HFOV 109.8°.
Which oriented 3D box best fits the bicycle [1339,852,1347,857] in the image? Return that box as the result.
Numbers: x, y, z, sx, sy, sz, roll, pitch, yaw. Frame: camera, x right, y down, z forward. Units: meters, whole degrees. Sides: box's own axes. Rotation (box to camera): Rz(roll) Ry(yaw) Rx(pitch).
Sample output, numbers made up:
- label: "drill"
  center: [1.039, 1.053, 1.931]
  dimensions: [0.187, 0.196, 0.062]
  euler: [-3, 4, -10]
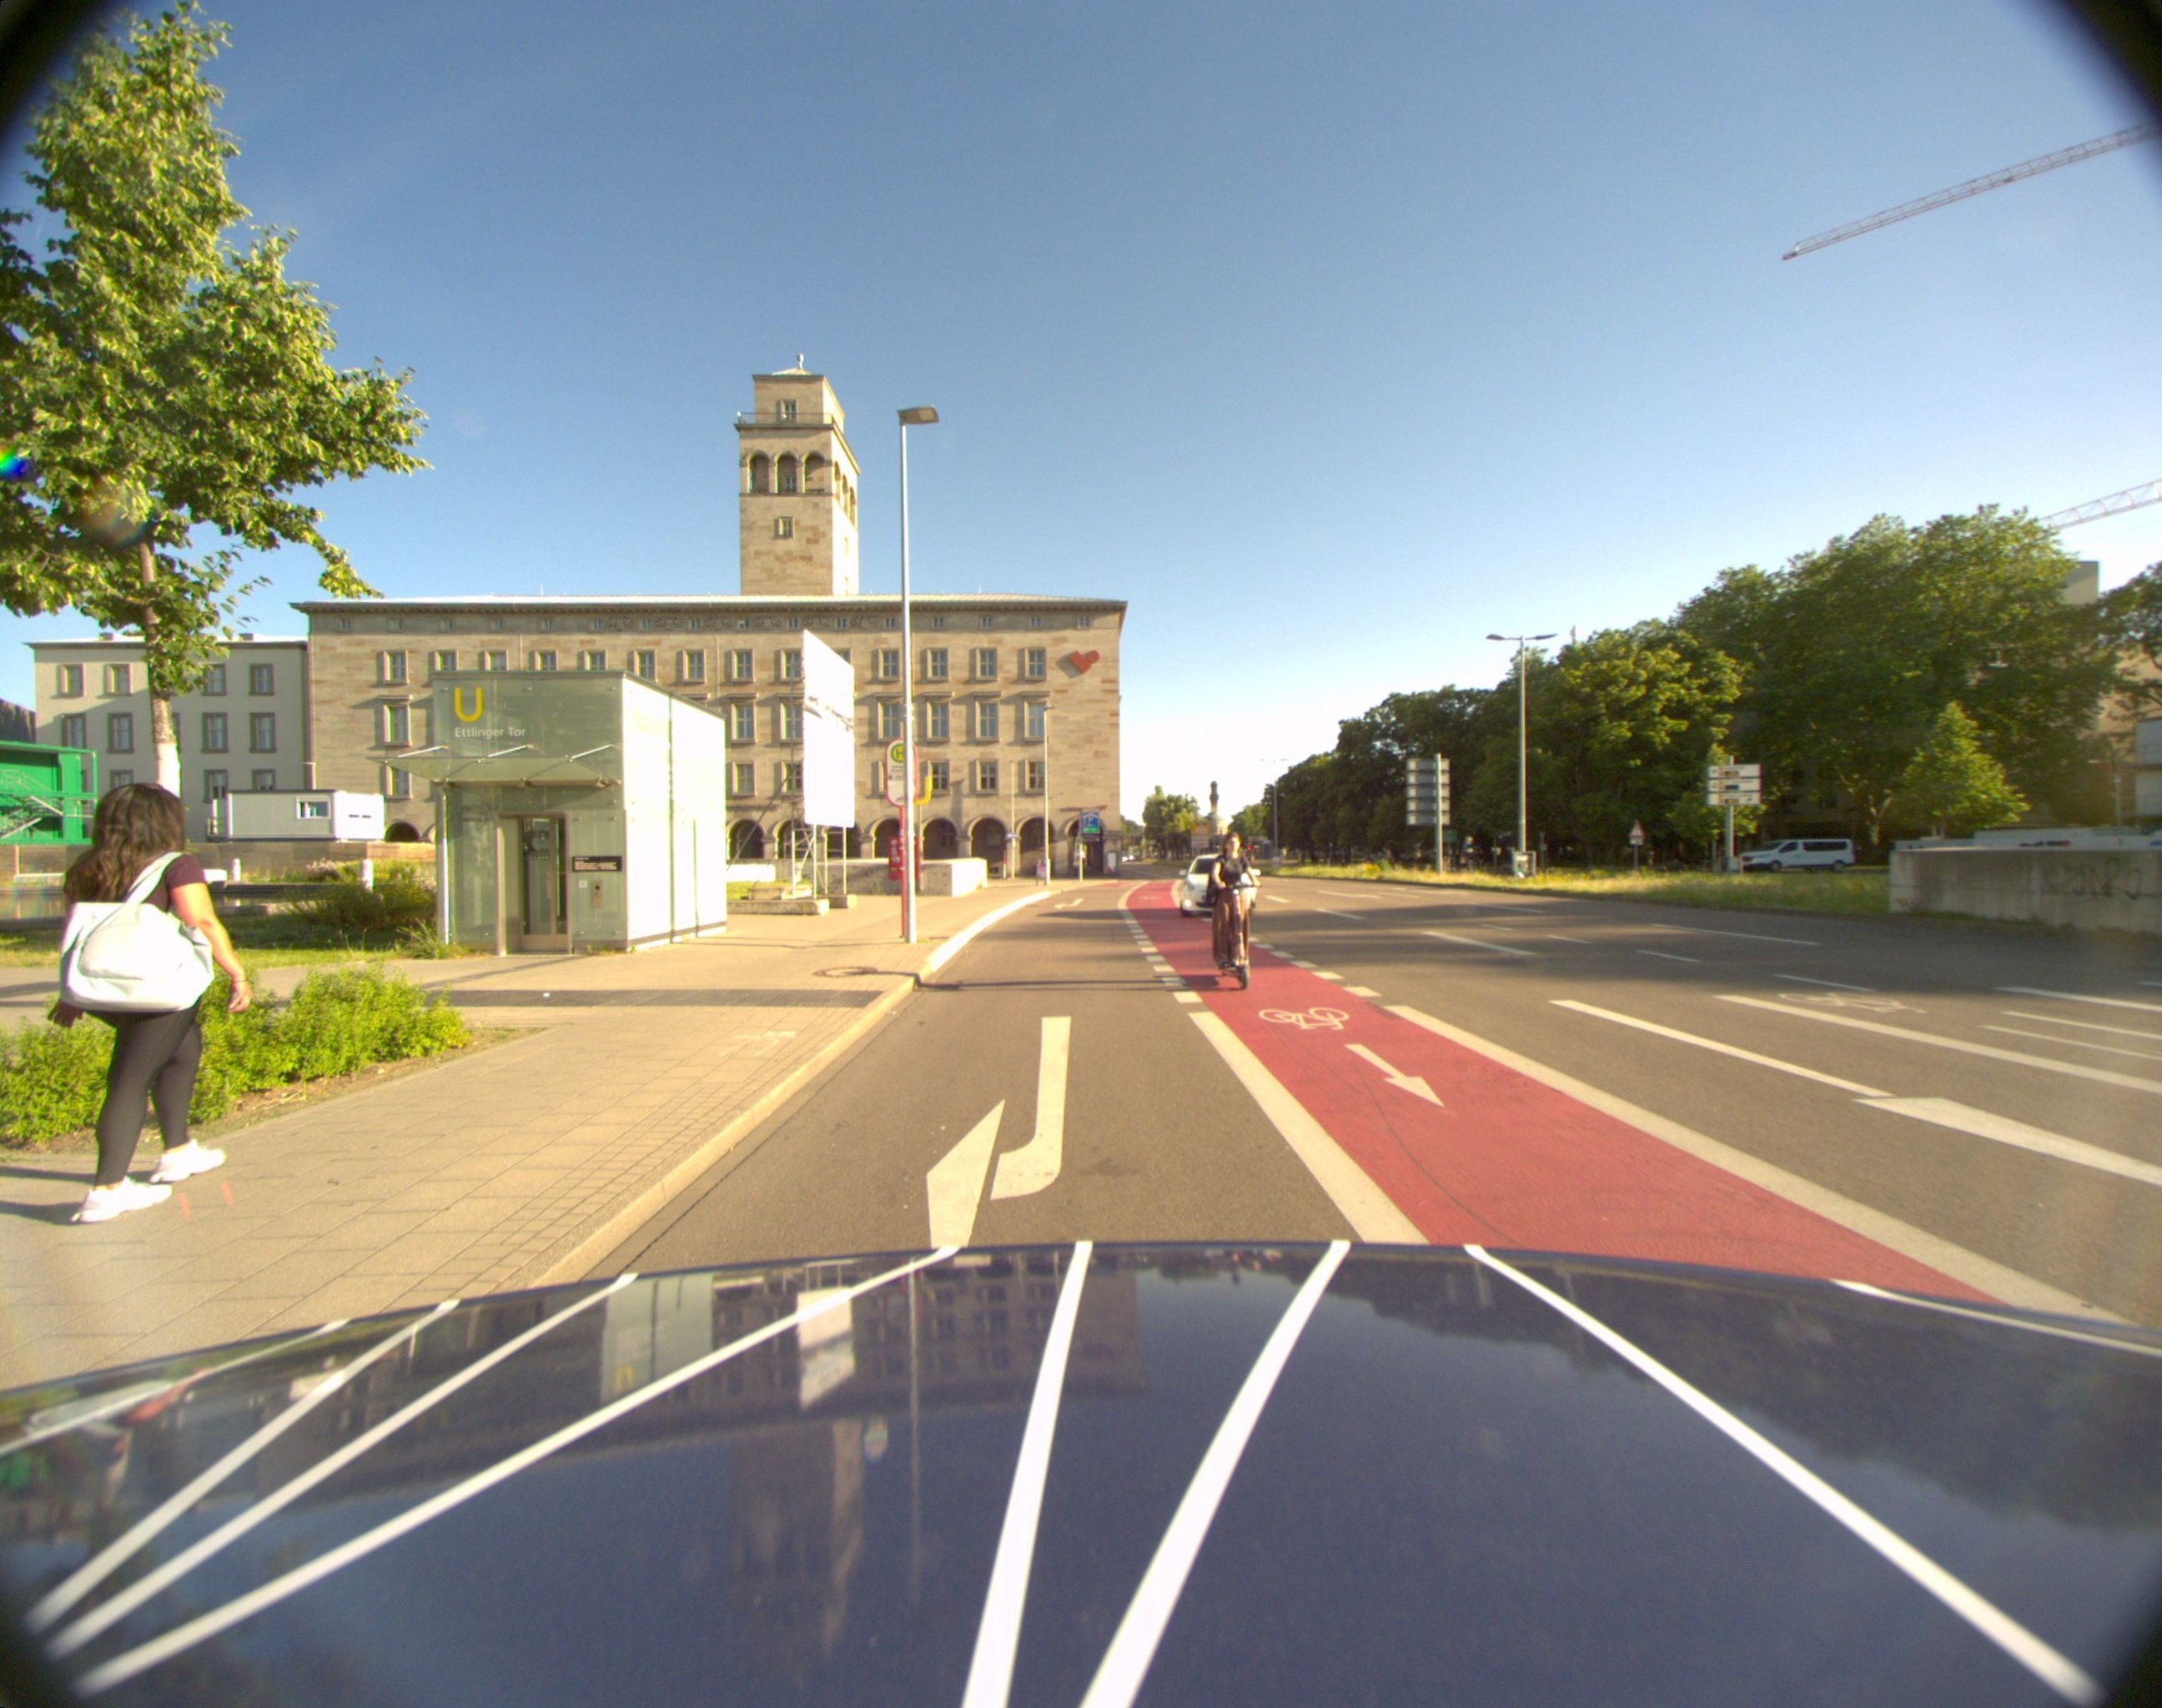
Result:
- label: "bicycle"
  center: [45.946, 0.133, 133.328]
  dimensions: [1.749, 0.838, 0.609]
  euler: [-1, 1, -41]

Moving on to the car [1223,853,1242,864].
- label: "car"
  center: [21.469, 0.613, 107.720]
  dimensions: [1.872, 1.390, 3.999]
  euler: [-1, 0, -1]

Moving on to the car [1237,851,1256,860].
- label: "car"
  center: [26.024, 0.219, 119.498]
  dimensions: [1.999, 1.499, 3.998]
  euler: [-1, 0, -3]

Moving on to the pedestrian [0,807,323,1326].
- label: "pedestrian"
  center: [-3.927, 0.728, 3.086]
  dimensions: [0.944, 1.776, 1.070]
  euler: [-1, 1, -32]

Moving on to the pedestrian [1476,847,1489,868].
- label: "pedestrian"
  center: [33.642, 0.300, 63.672]
  dimensions: [0.707, 1.715, 0.762]
  euler: [-1, 1, 1]

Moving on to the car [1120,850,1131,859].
- label: "car"
  center: [8.752, 0.094, 149.876]
  dimensions: [1.998, 1.652, 4.000]
  euler: [-1, 0, 1]

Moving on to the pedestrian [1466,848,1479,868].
- label: "pedestrian"
  center: [32.837, 0.331, 63.727]
  dimensions: [0.665, 1.715, 0.762]
  euler: [-1, 1, 1]

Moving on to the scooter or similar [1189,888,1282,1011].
- label: "scooter or similar"
  center: [1.732, 1.035, 8.776]
  dimensions: [0.730, 1.195, 1.664]
  euler: [-1, 0, 1]

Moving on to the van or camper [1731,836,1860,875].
- label: "van or camper"
  center: [42.303, 0.079, 45.073]
  dimensions: [5.649, 2.002, 1.948]
  euler: [-2, 1, 2]

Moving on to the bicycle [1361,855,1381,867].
- label: "bicycle"
  center: [24.675, 0.613, 64.670]
  dimensions: [0.639, 1.016, 2.242]
  euler: [-1, 0, -4]

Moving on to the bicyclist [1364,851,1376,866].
- label: "bicyclist"
  center: [24.658, 0.352, 64.847]
  dimensions: [0.639, 1.275, 0.885]
  euler: [-1, 1, -4]

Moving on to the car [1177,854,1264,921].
- label: "car"
  center: [3.624, 0.770, 19.242]
  dimensions: [1.676, 1.440, 3.894]
  euler: [-2, 0, 17]

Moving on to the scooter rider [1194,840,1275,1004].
- label: "scooter rider"
  center: [1.726, 0.735, 8.628]
  dimensions: [0.730, 1.764, 0.811]
  euler: [-1, 1, 1]

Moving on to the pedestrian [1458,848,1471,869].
- label: "pedestrian"
  center: [32.048, 0.363, 63.561]
  dimensions: [0.707, 1.715, 0.762]
  euler: [-1, 1, 1]

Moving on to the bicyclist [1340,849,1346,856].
- label: "bicyclist"
  center: [45.942, -0.317, 133.319]
  dimensions: [0.716, 1.274, 0.609]
  euler: [-1, 1, -41]
